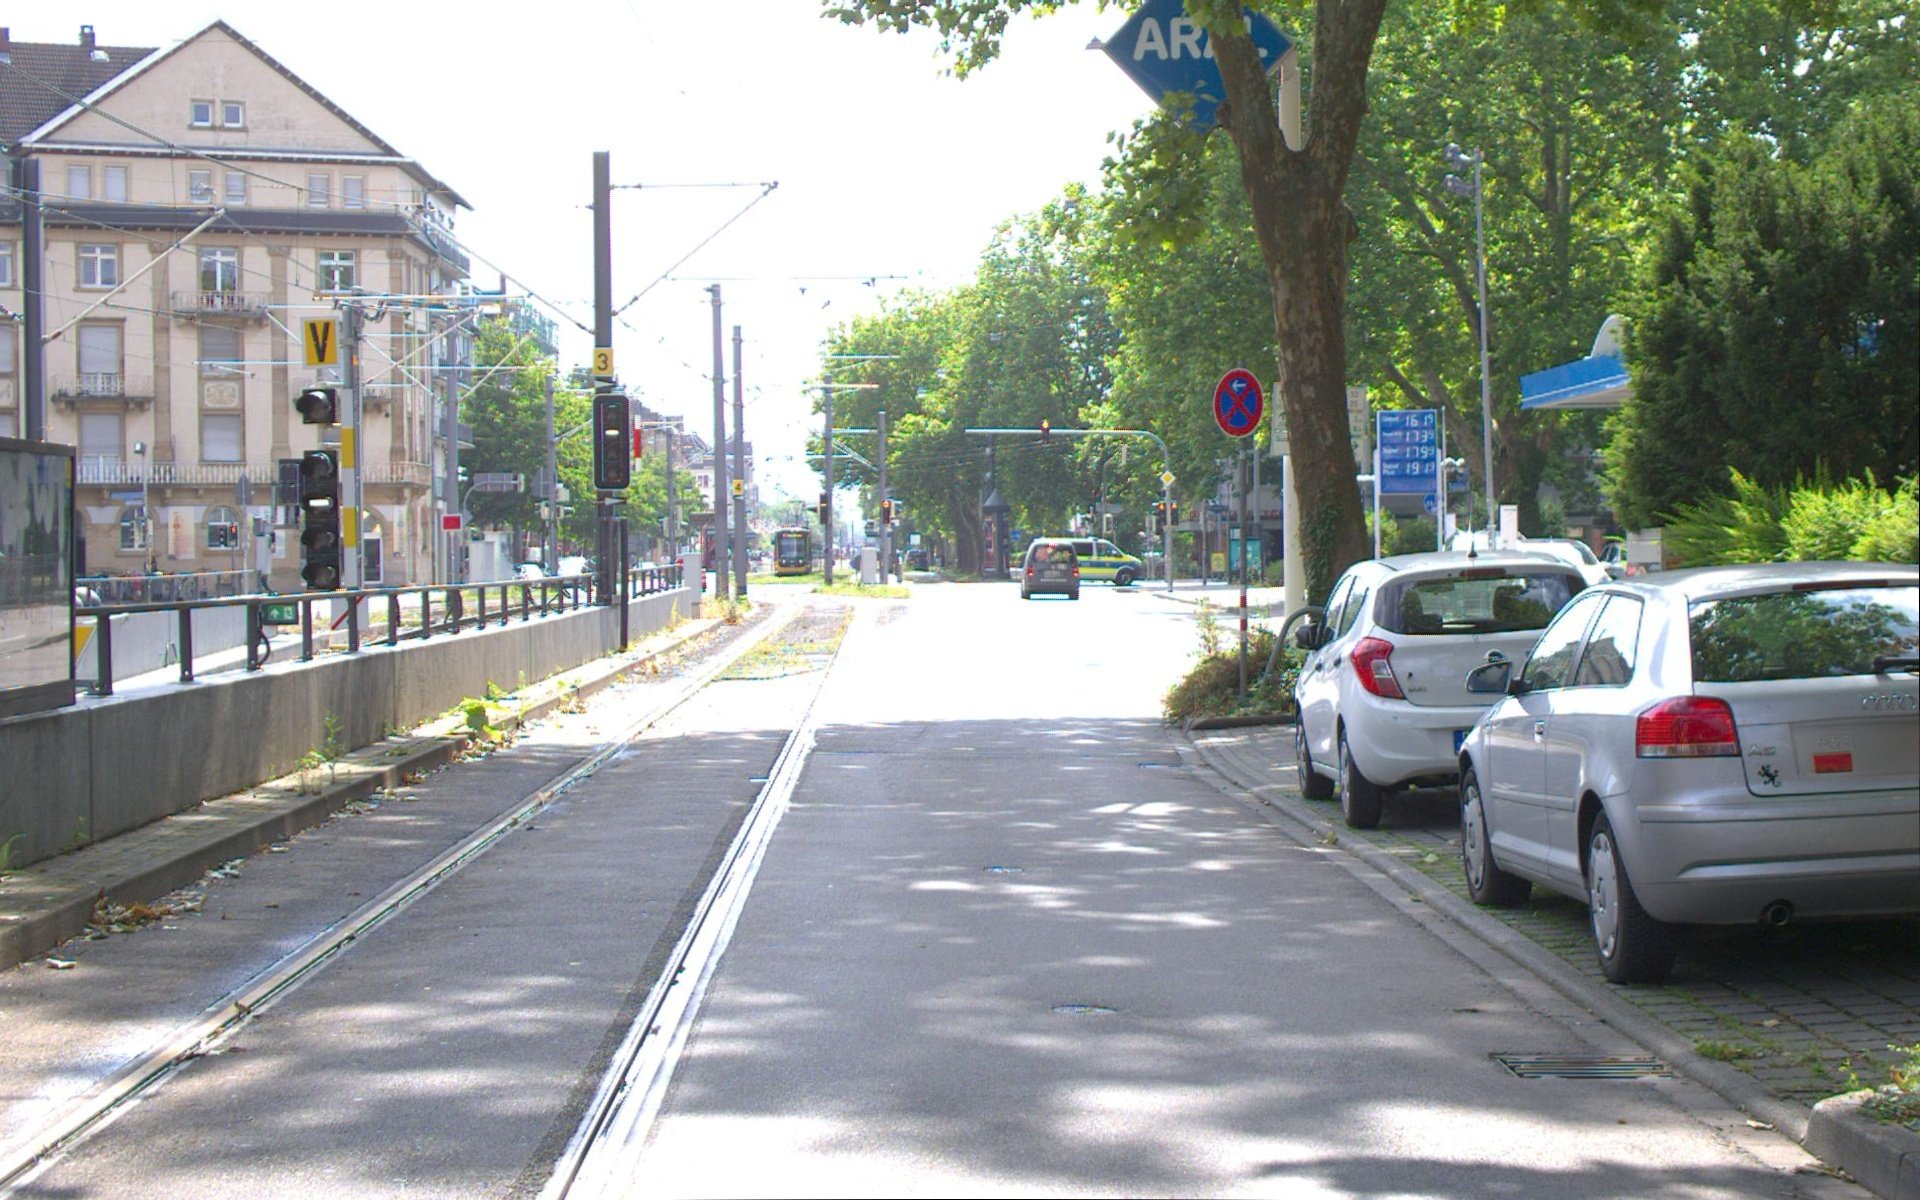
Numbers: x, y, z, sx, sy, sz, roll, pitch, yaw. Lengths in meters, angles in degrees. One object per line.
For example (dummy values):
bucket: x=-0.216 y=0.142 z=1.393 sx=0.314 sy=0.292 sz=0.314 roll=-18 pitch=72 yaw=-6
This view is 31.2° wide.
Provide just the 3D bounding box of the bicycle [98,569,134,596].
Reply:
bicycle: x=-33.981 y=-0.715 z=138.376 sx=0.740 sy=1.049 sz=2.566 roll=-1 pitch=1 yaw=-30

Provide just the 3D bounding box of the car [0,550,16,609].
car: x=-29.956 y=-0.580 z=101.192 sx=3.869 sy=1.742 sz=1.895 roll=-1 pitch=1 yaw=-3

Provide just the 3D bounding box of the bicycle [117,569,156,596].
bicycle: x=-33.239 y=-0.713 z=138.735 sx=0.803 sy=1.049 sz=2.566 roll=-1 pitch=1 yaw=-30

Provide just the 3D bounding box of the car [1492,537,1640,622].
car: x=10.661 y=-0.388 z=60.722 sx=1.805 sy=1.450 sz=4.002 roll=0 pitch=1 yaw=-1

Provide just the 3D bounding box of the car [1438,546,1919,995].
car: x=2.991 y=0.529 z=13.190 sx=1.677 sy=1.439 sz=3.859 roll=-1 pitch=1 yaw=-1

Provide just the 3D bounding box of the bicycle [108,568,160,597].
bicycle: x=-32.708 y=-0.684 z=136.181 sx=1.970 sy=1.110 sz=0.487 roll=-2 pitch=1 yaw=-37

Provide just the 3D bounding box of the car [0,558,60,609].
car: x=-29.231 y=-0.488 z=104.479 sx=3.265 sy=1.497 sz=1.855 roll=-1 pitch=1 yaw=-2

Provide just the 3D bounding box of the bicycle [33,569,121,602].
bicycle: x=-35.125 y=-0.574 z=136.700 sx=3.312 sy=1.249 sz=0.998 roll=-1 pitch=1 yaw=16

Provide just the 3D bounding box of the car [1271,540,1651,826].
car: x=2.829 y=0.420 z=20.131 sx=1.553 sy=1.480 sz=3.859 roll=-1 pitch=1 yaw=-1

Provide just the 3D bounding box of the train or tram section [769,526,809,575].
train or tram section: x=-12.001 y=-3.473 z=242.390 sx=2.240 sy=3.320 sz=12.972 roll=-1 pitch=1 yaw=0

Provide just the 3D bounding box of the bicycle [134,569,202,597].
bicycle: x=-31.711 y=-0.691 z=137.602 sx=2.557 sy=1.049 sz=0.682 roll=-1 pitch=1 yaw=-28

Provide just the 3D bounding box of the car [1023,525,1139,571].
car: x=5.144 y=-2.210 z=145.381 sx=4.736 sy=1.853 sz=2.000 roll=-1 pitch=1 yaw=7

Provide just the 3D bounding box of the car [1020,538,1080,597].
car: x=2.840 y=-1.044 z=109.143 sx=1.750 sy=1.802 sz=3.475 roll=1 pitch=1 yaw=0
